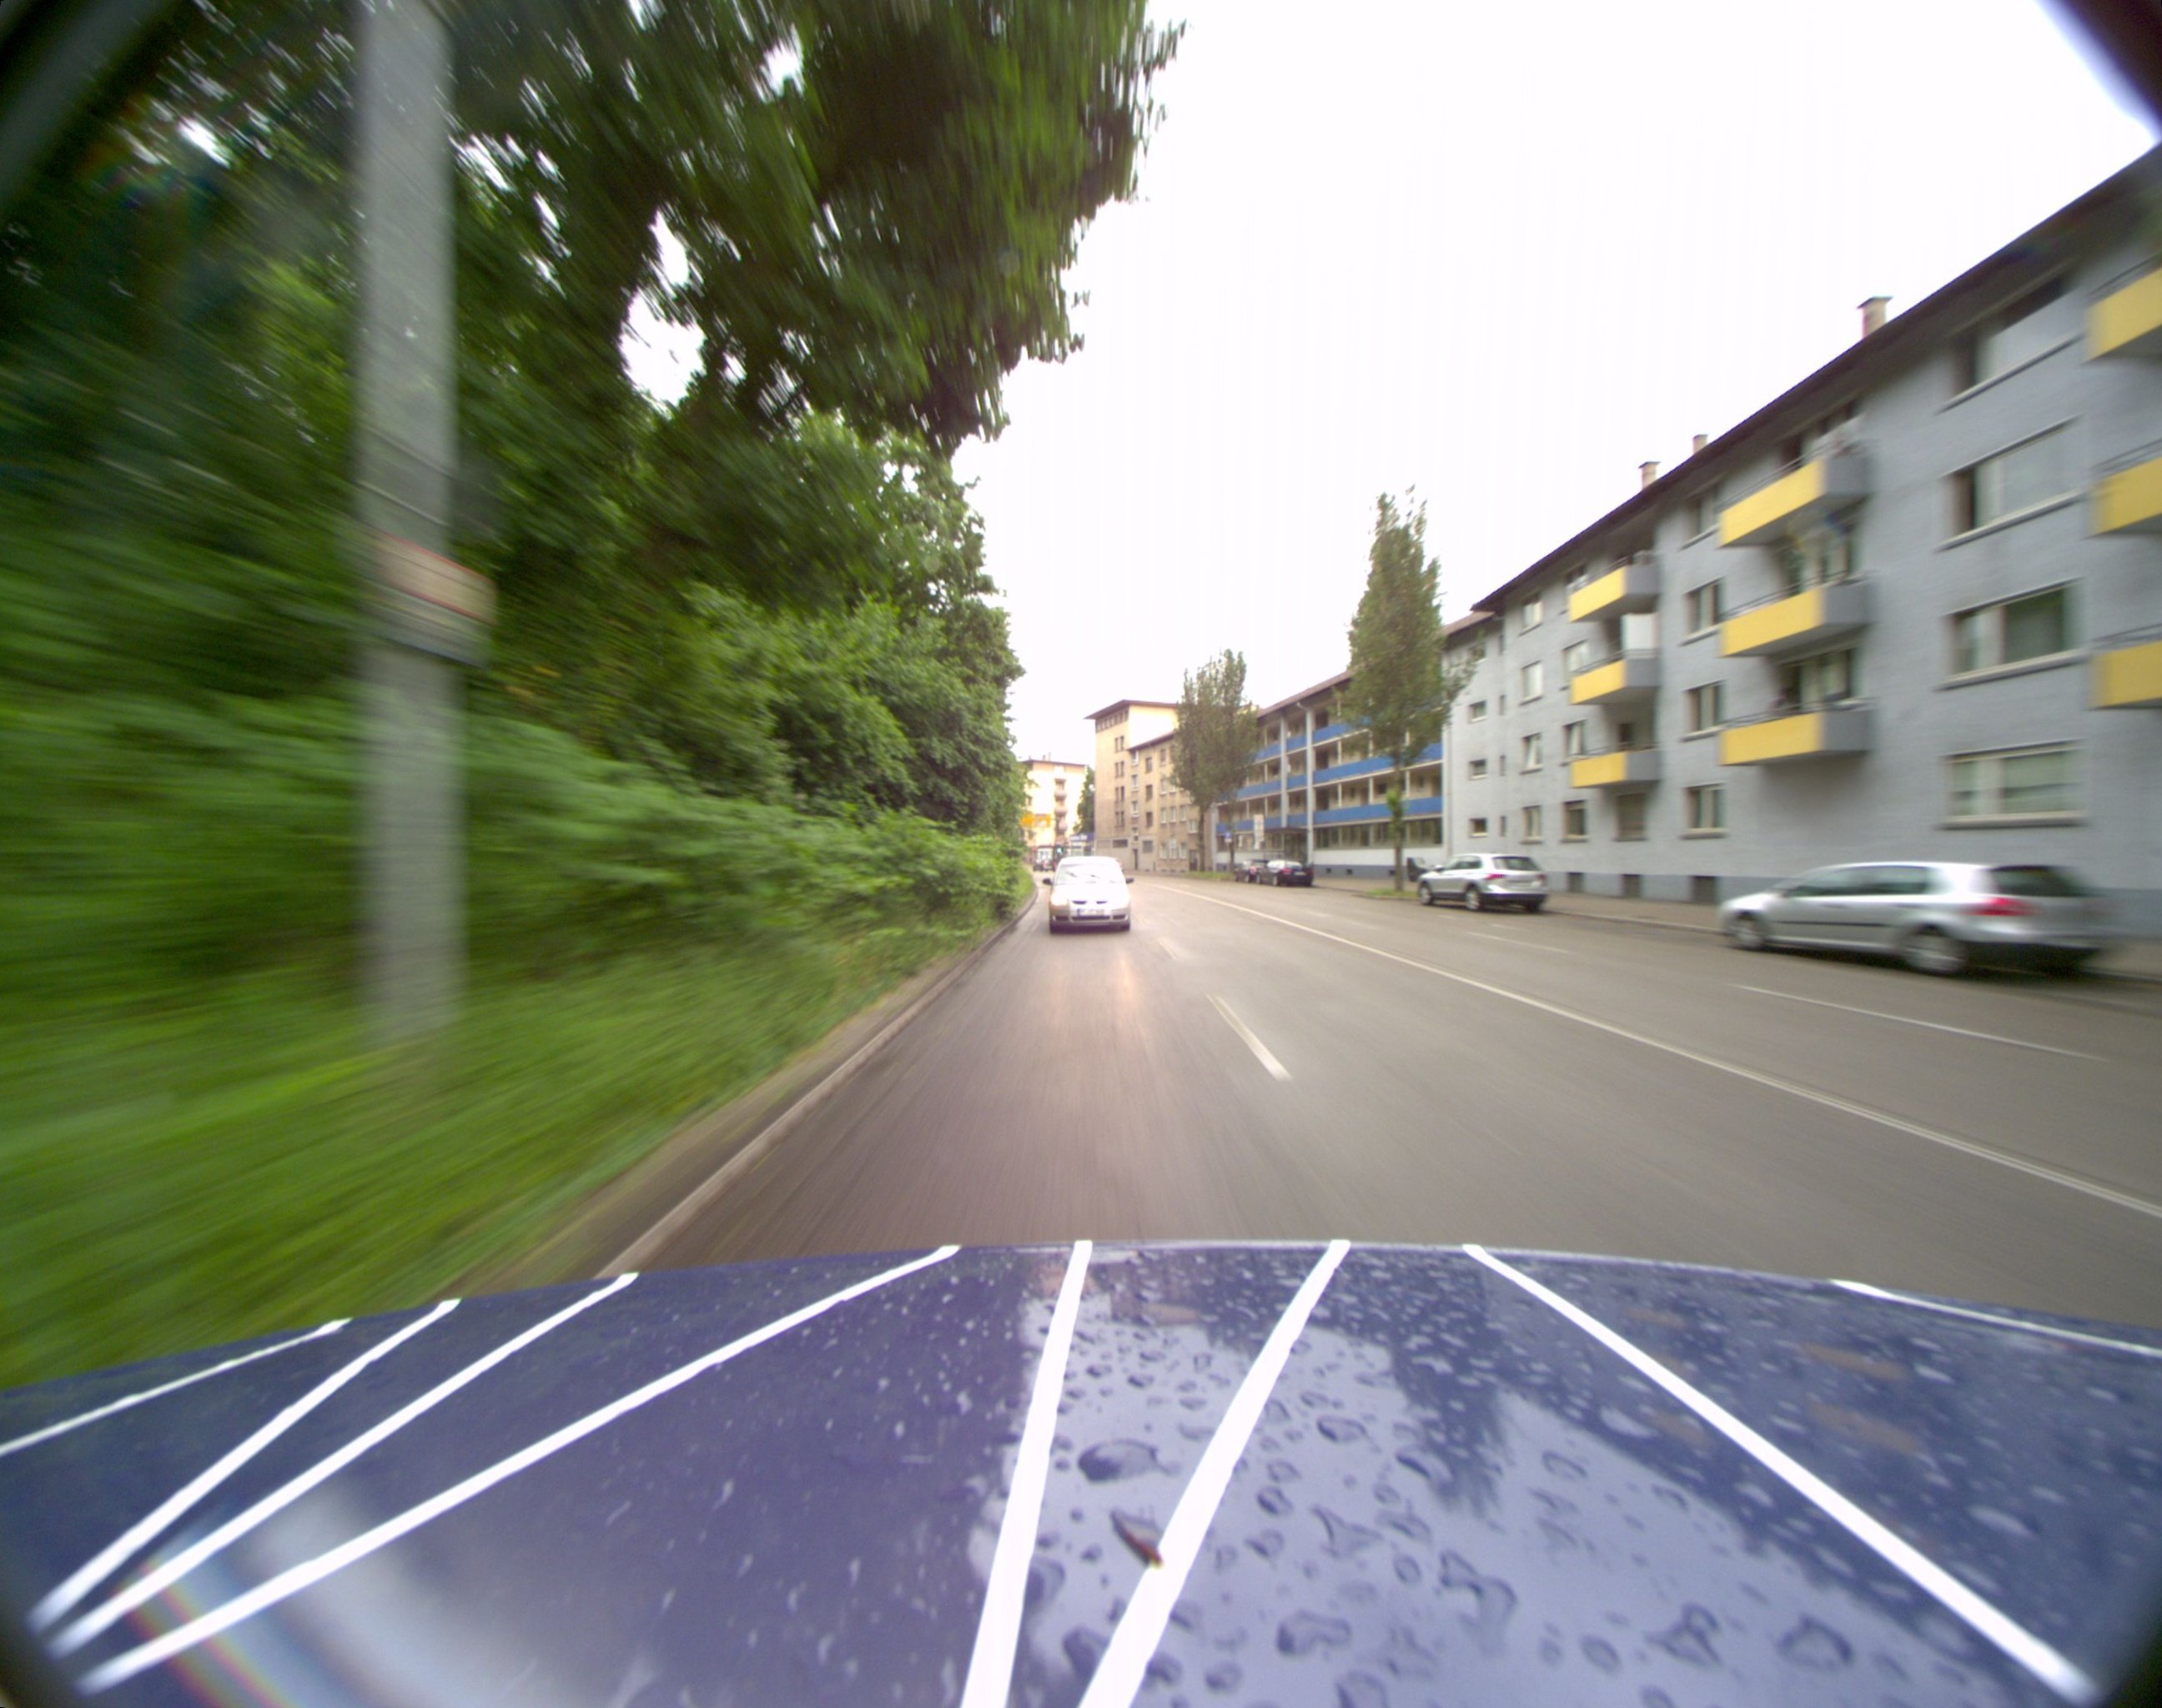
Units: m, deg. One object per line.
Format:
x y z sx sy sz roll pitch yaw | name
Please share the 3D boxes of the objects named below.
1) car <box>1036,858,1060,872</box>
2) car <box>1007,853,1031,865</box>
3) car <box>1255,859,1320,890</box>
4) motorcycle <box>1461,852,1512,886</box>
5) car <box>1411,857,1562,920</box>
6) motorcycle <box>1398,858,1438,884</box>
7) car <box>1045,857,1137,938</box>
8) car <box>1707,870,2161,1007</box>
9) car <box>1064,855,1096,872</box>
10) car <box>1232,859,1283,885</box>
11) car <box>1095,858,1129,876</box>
-3.705 1.216 84.006 1.687 1.439 3.814 1 0 -19 | car
-7.903 0.625 96.538 1.798 1.399 4.617 0 0 -21 | car
10.811 1.015 40.078 1.826 1.431 4.890 1 0 -3 | car
17.687 0.646 33.205 0.677 1.406 2.234 -3 1 -10 | motorcycle
11.432 0.909 21.832 1.768 1.594 4.532 0 0 -2 | car
16.800 0.838 37.930 0.677 1.247 2.234 -3 1 -8 | motorcycle
0.131 0.857 16.910 1.752 1.510 3.999 -2 0 -2 | car
11.478 1.003 10.724 1.729 1.444 4.204 0 0 -1 | car
-0.159 0.900 72.994 1.827 1.507 5.021 1 0 -15 | car
10.564 1.060 45.760 1.785 1.395 4.087 1 0 -4 | car
2.532 1.060 62.958 1.759 1.417 4.532 0 0 -12 | car
